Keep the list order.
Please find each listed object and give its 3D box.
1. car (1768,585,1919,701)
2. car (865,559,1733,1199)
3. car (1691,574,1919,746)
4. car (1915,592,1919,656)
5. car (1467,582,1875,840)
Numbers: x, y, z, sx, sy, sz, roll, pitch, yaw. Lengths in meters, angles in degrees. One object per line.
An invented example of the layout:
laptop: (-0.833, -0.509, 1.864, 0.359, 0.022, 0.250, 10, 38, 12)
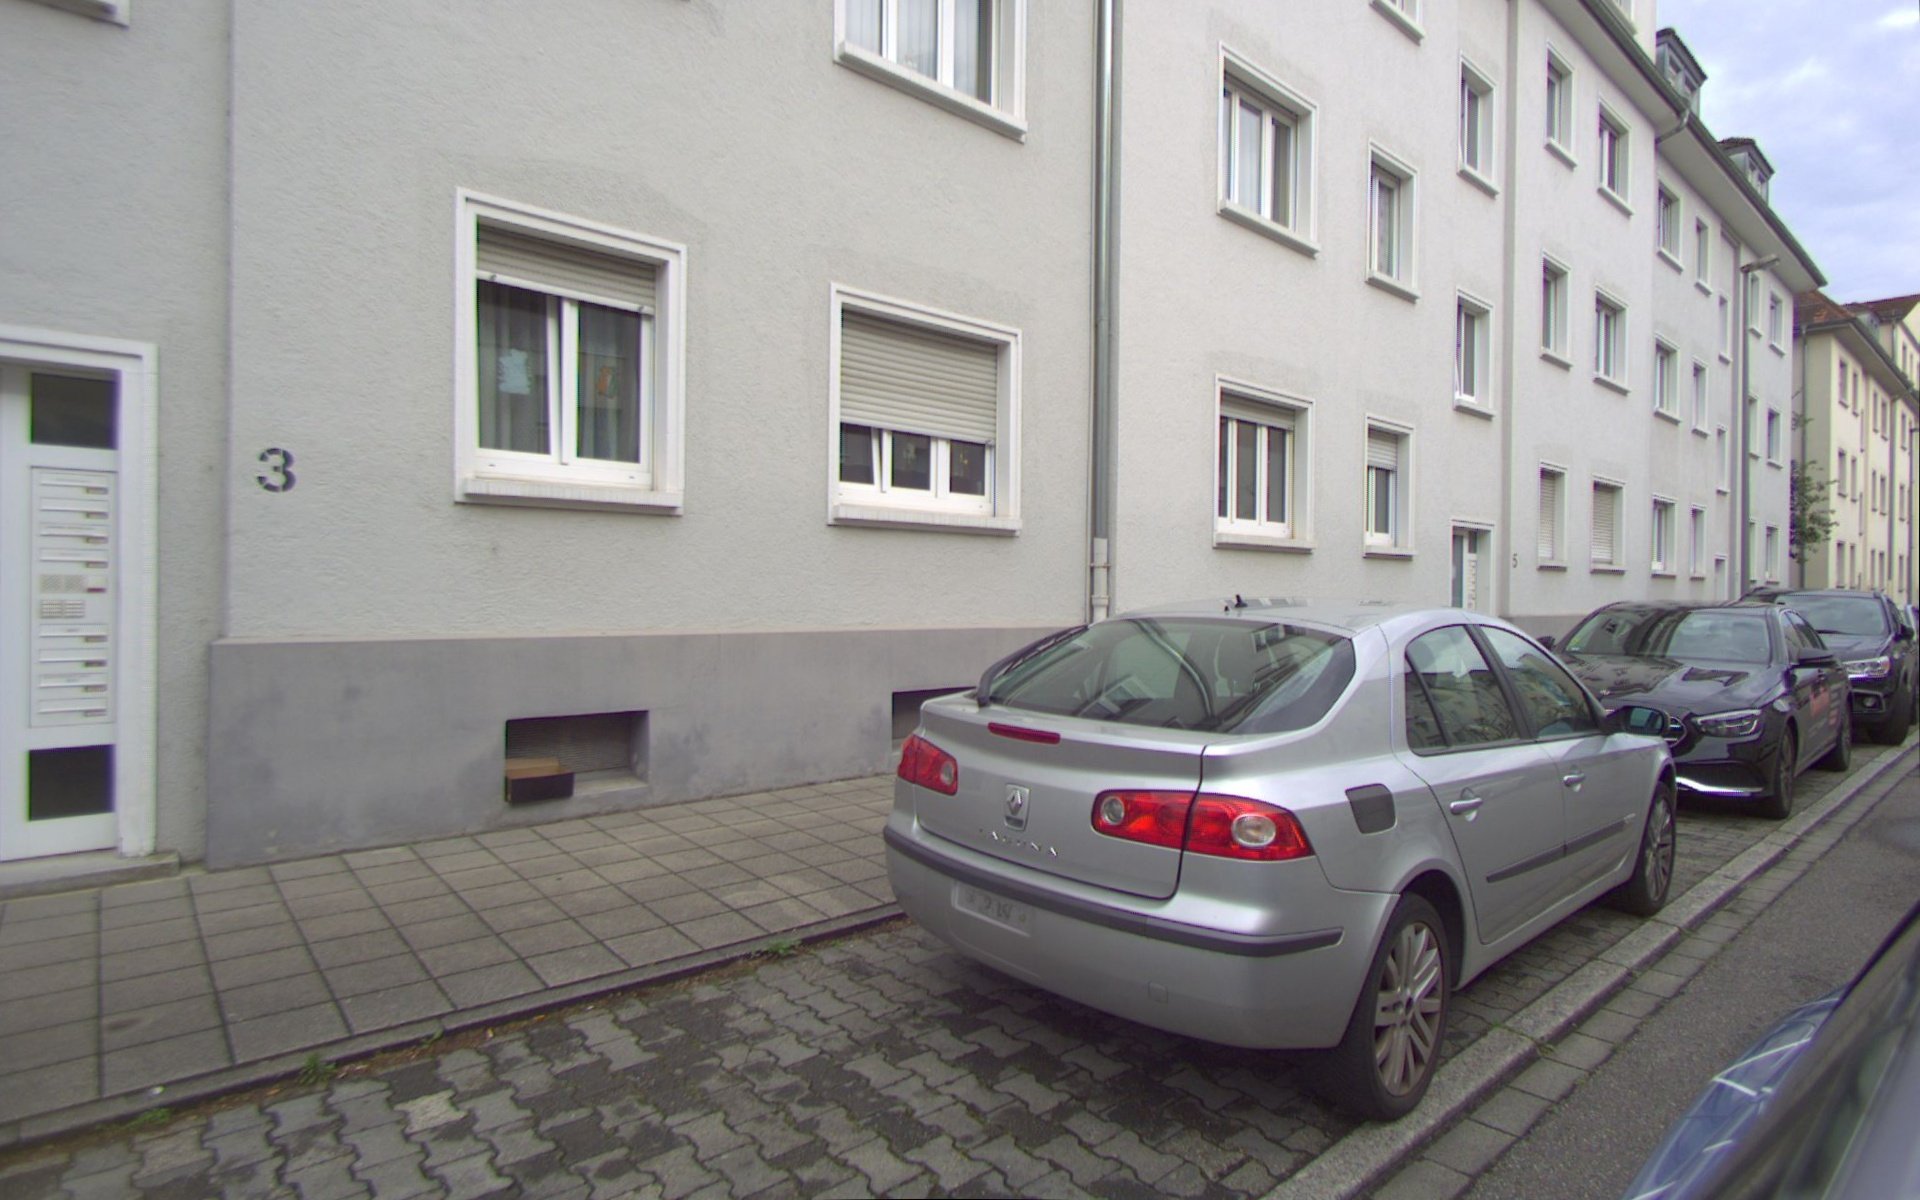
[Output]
car: (13.590, 0.572, 15.130, 3.691, 1.505, 1.735, 0, 1, -41)
car: (1.849, 0.632, 4.449, 4.355, 1.481, 1.735, 0, 1, -43)
car: (10.028, 0.563, 11.645, 4.089, 1.619, 1.850, 0, 1, -43)
car: (25.263, 0.597, 25.335, 3.615, 1.566, 1.735, 0, 1, -43)
car: (5.778, 0.640, 8.000, 4.249, 1.481, 1.784, 0, 1, -43)
